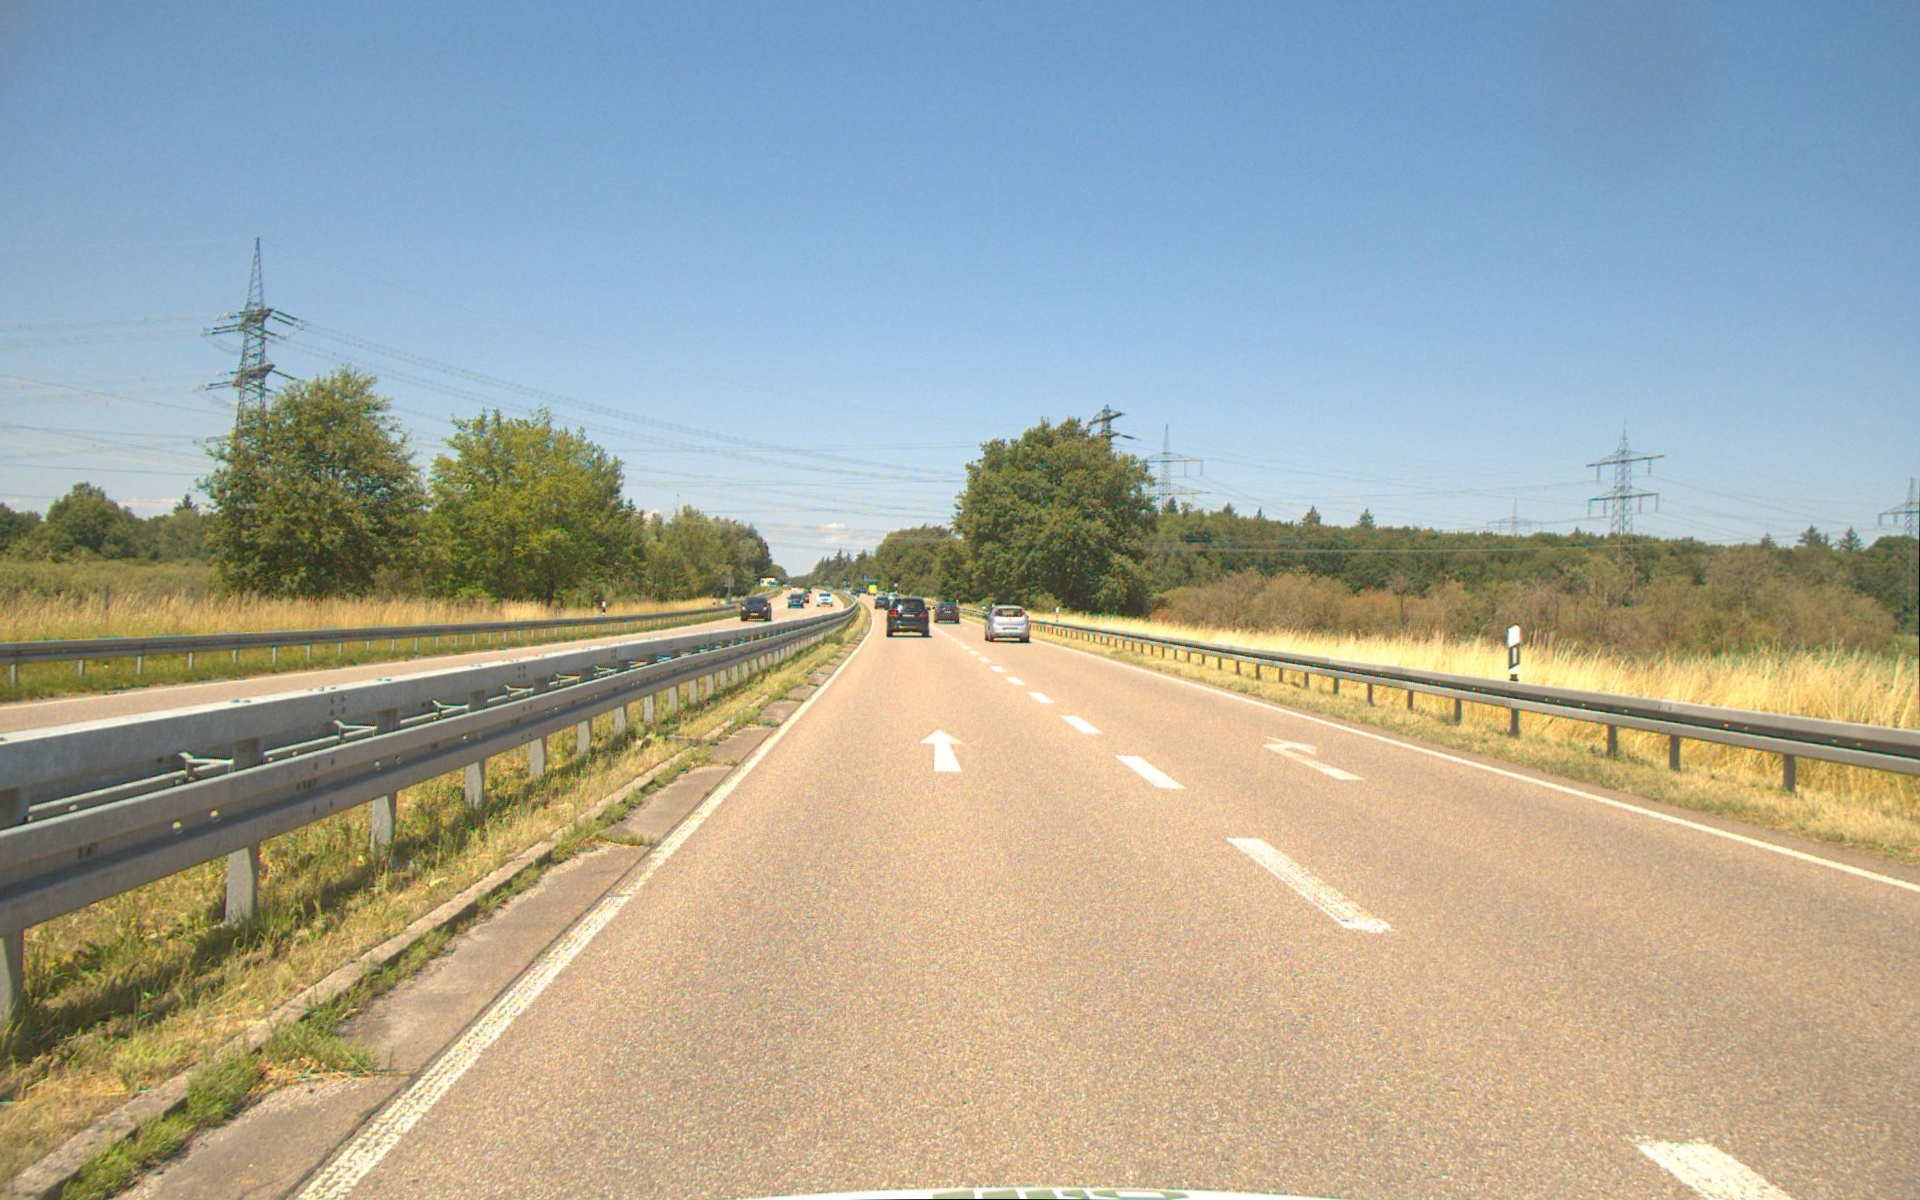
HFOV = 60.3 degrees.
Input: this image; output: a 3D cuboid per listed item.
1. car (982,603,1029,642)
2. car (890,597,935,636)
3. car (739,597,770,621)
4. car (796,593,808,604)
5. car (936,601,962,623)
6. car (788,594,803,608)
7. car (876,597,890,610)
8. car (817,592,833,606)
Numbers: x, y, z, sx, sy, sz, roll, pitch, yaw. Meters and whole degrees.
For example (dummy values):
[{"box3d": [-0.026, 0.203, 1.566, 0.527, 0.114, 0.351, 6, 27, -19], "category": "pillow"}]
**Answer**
[{"box3d": [1.840, 0.896, 67.767, 1.743, 1.505, 4.314, 1, 0, -1], "category": "car"}, {"box3d": [-2.091, 0.732, 73.870, 1.953, 1.683, 3.999, 1, 0, -1], "category": "car"}, {"box3d": [-13.868, 0.629, 111.774, 1.795, 1.501, 3.682, -2, -1, -3], "category": "car"}, {"box3d": [-22.405, -0.169, 234.903, 1.484, 1.500, 3.065, 4, 0, -2], "category": "car"}, {"box3d": [-0.816, 0.840, 116.795, 1.782, 1.439, 3.999, 1, 0, -1], "category": "car"}, {"box3d": [-19.018, 0.129, 191.288, 1.582, 1.501, 3.064, 1, 0, -3], "category": "car"}, {"box3d": [-8.918, 0.420, 190.573, 1.485, 1.501, 3.063, 1, 0, -5], "category": "car"}, {"box3d": [-16.911, -0.075, 206.687, 1.955, 1.691, 3.996, 1, 0, -5], "category": "car"}]
